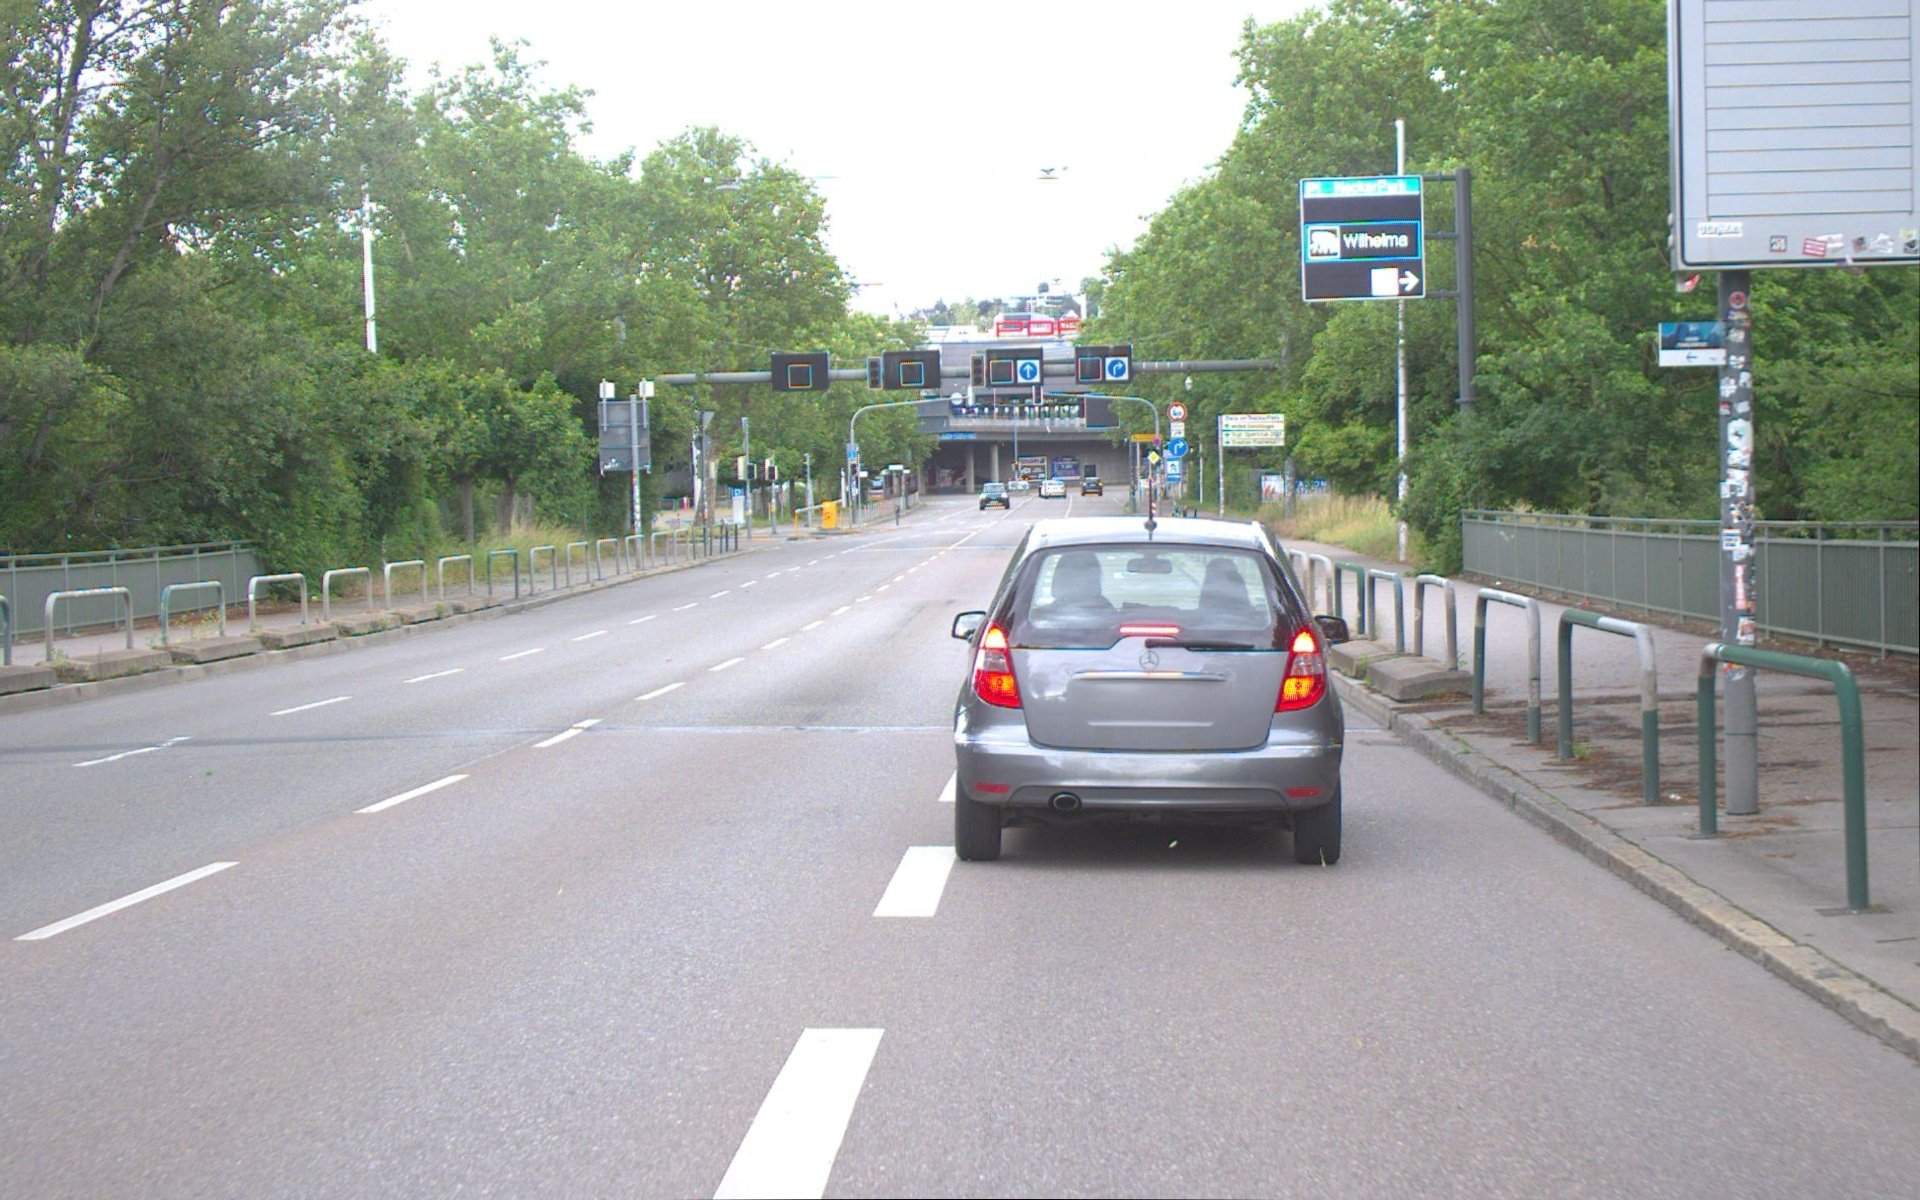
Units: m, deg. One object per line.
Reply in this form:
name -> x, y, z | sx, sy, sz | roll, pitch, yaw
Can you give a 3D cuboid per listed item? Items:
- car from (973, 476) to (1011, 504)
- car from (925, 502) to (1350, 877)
car -> 2.044, -6.977, 217.479 | 1.994, 1.654, 4.517 | -2, 2, 5
car -> 0.920, 0.336, 16.841 | 1.826, 1.611, 4.034 | 0, 1, 5
